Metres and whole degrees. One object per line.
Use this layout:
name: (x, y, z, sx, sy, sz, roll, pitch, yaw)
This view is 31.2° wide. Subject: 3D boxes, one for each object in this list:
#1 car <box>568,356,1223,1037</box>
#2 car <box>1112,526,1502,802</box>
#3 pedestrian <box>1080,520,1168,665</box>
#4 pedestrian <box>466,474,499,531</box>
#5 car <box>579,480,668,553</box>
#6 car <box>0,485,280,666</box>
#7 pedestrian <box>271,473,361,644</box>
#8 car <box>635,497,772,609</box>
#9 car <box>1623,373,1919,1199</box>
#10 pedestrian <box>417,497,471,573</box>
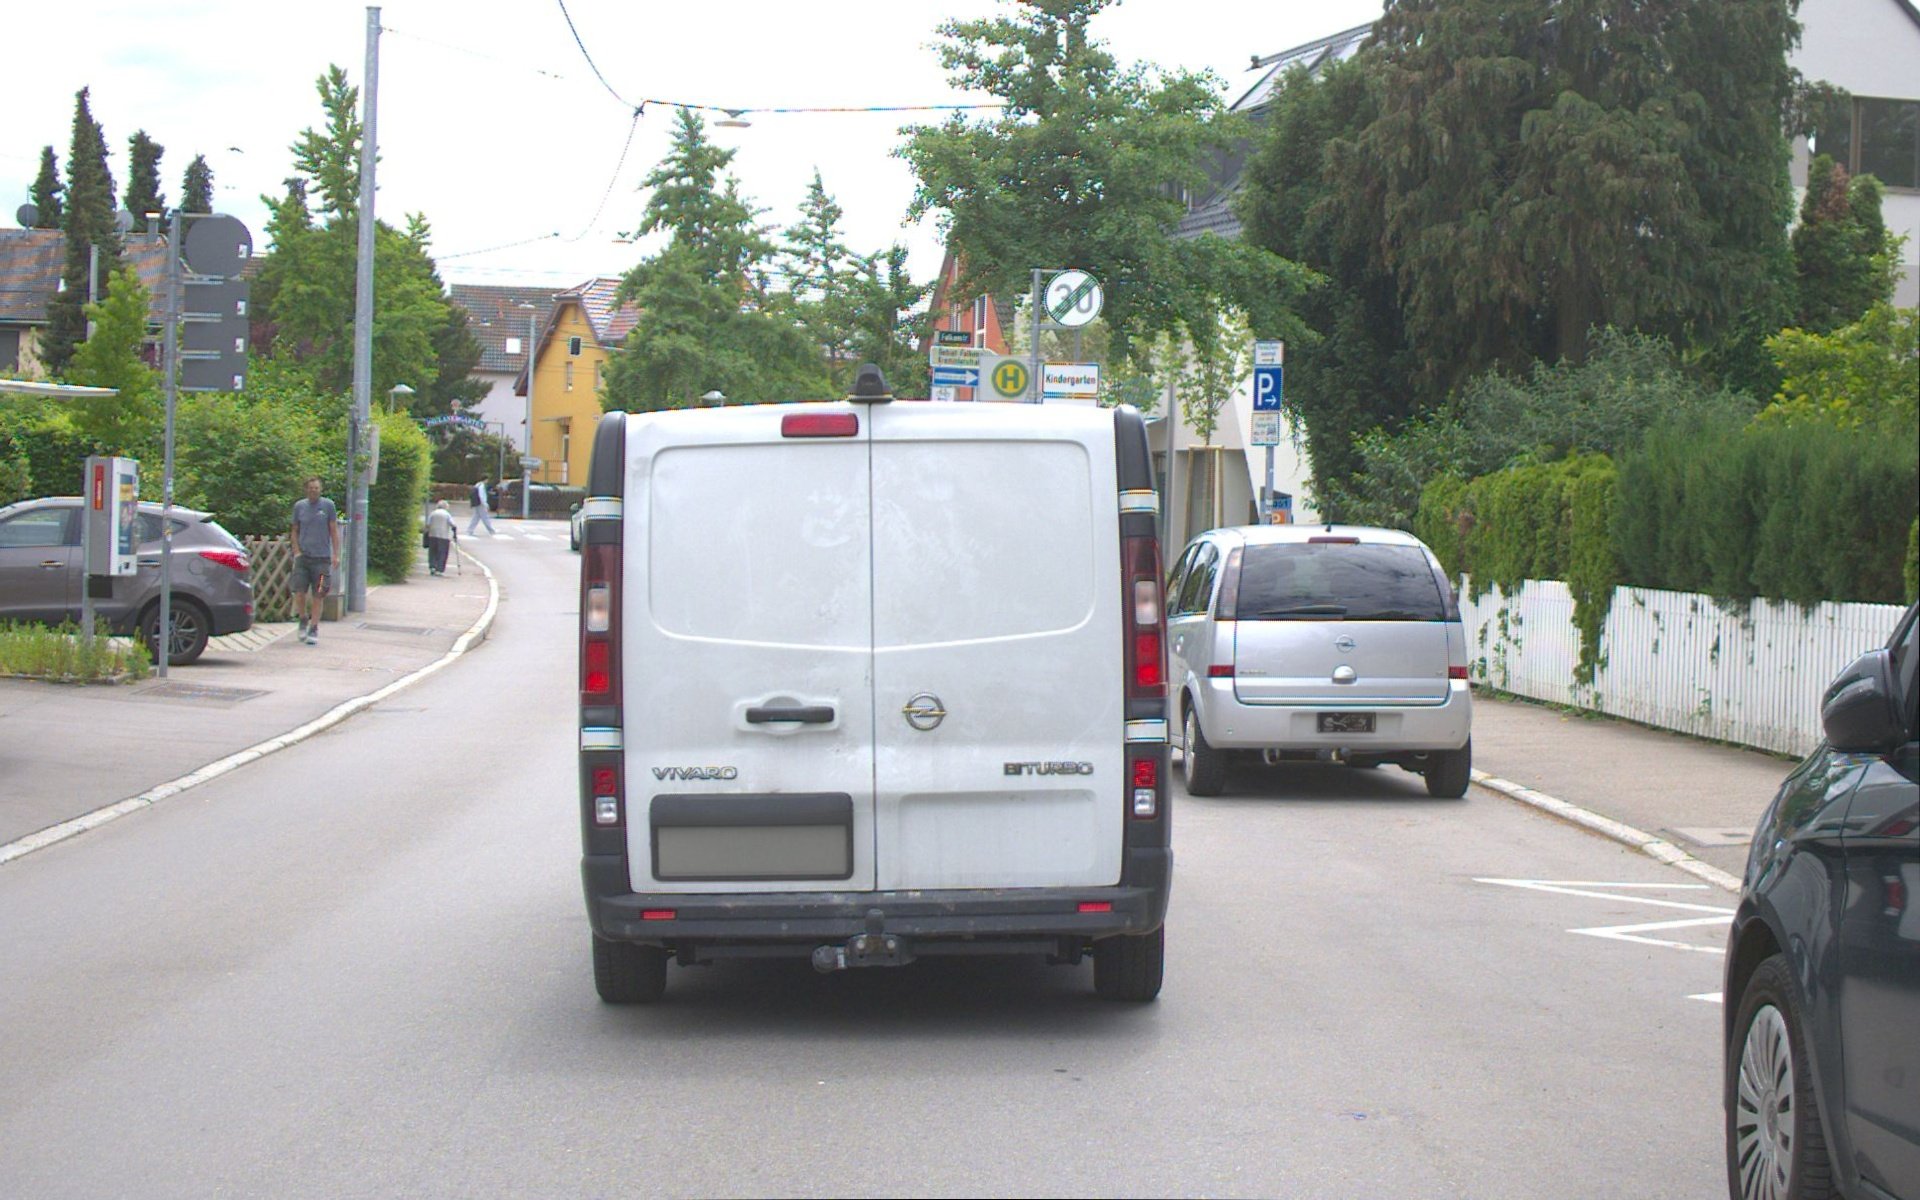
car: (-0.365, 0.256, 12.405, 1.915, 1.996, 4.438, 1, 1, -5)
car: (2.076, 0.327, 21.658, 1.759, 1.577, 4.019, 0, 1, -4)
pedestrian: (1.928, -0.096, 40.615, 0.854, 1.639, 0.884, 4, 1, -3)
pedestrian: (-13.925, -2.843, 100.280, 0.804, 1.604, 0.628, 3, 1, -13)
car: (-8.573, -2.123, 87.230, 1.993, 1.776, 4.001, 0, 1, -9)
car: (-9.412, -0.313, 35.919, 4.310, 1.690, 1.798, 3, 1, -15)
pedestrian: (-7.581, -0.487, 40.510, 0.733, 1.939, 1.217, 4, 1, -1)
car: (-4.450, -0.826, 59.067, 1.993, 1.842, 4.001, 1, 1, -9)
car: (2.586, 0.569, 5.520, 1.909, 1.842, 5.158, 2, 1, -1)
pedestrian: (-10.407, -1.310, 69.322, 0.876, 1.480, 0.455, 3, 1, -29)
